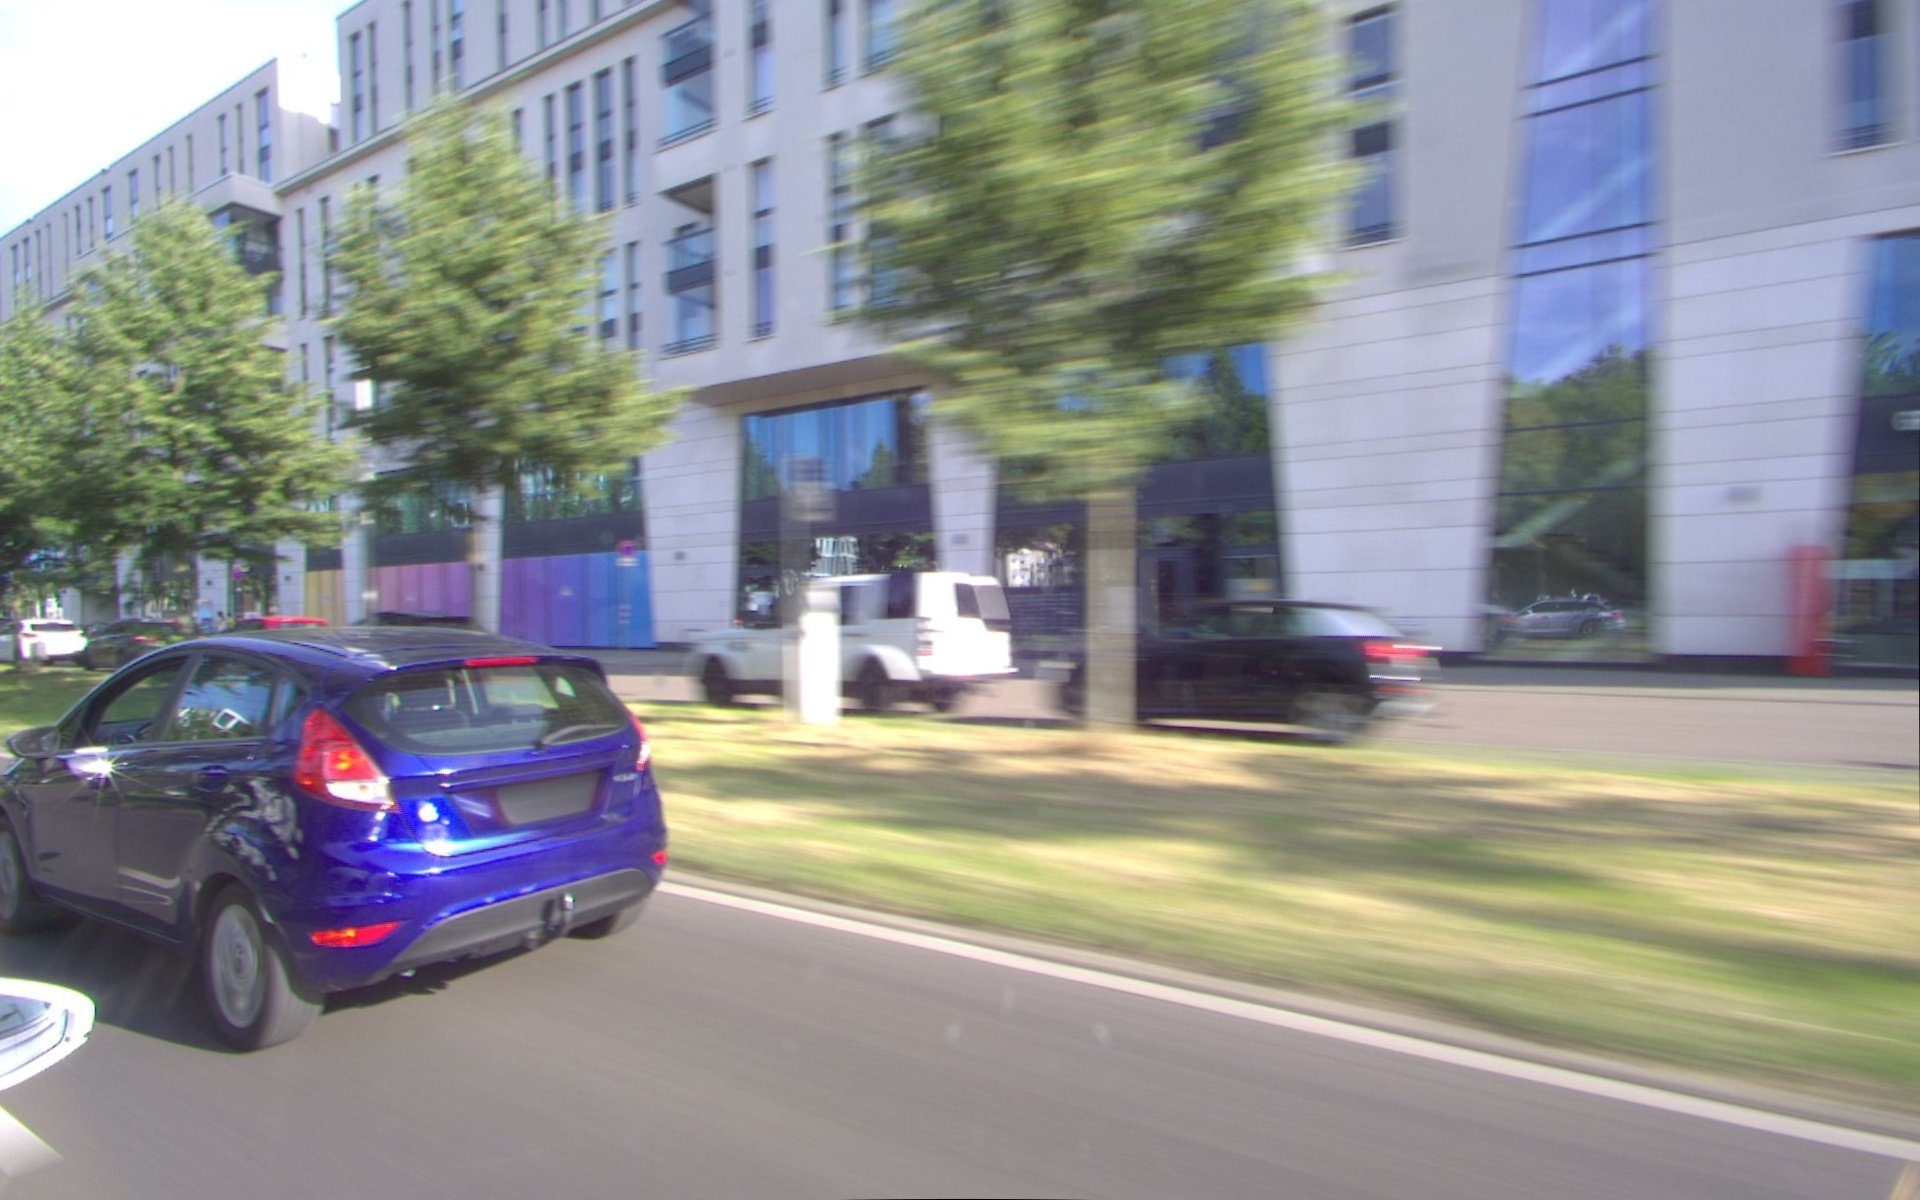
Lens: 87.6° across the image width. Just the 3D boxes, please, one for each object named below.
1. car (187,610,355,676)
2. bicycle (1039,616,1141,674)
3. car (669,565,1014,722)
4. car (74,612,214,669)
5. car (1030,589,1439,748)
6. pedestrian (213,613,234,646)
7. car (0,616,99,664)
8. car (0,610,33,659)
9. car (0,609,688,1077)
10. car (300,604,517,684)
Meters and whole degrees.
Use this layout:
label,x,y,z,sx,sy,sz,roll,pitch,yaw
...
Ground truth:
label,x,y,z,sx,sy,sz,roll,pitch,yaw
car,-16.375,1.025,23.769,4.053,1.450,1.727,-1,-2,30
bicycle,2.553,0.874,19.752,1.956,1.084,0.509,-1,1,33
car,-1.763,0.615,14.259,4.776,1.898,1.891,-2,-2,32
car,-22.390,1.103,27.429,4.657,1.450,1.724,-2,-2,34
car,3.029,0.723,11.285,4.148,1.507,1.758,-1,-2,30
pedestrian,-34.508,1.391,46.938,0.506,1.541,0.596,-1,-1,21
car,-29.312,1.272,31.898,4.106,1.430,1.614,-1,-2,30
car,-34.424,1.213,35.201,4.280,1.671,1.725,-2,-2,34
car,-3.235,0.820,4.799,3.852,1.442,1.557,-2,-2,32
car,-11.385,0.903,20.635,4.347,1.510,1.867,-1,-2,28
